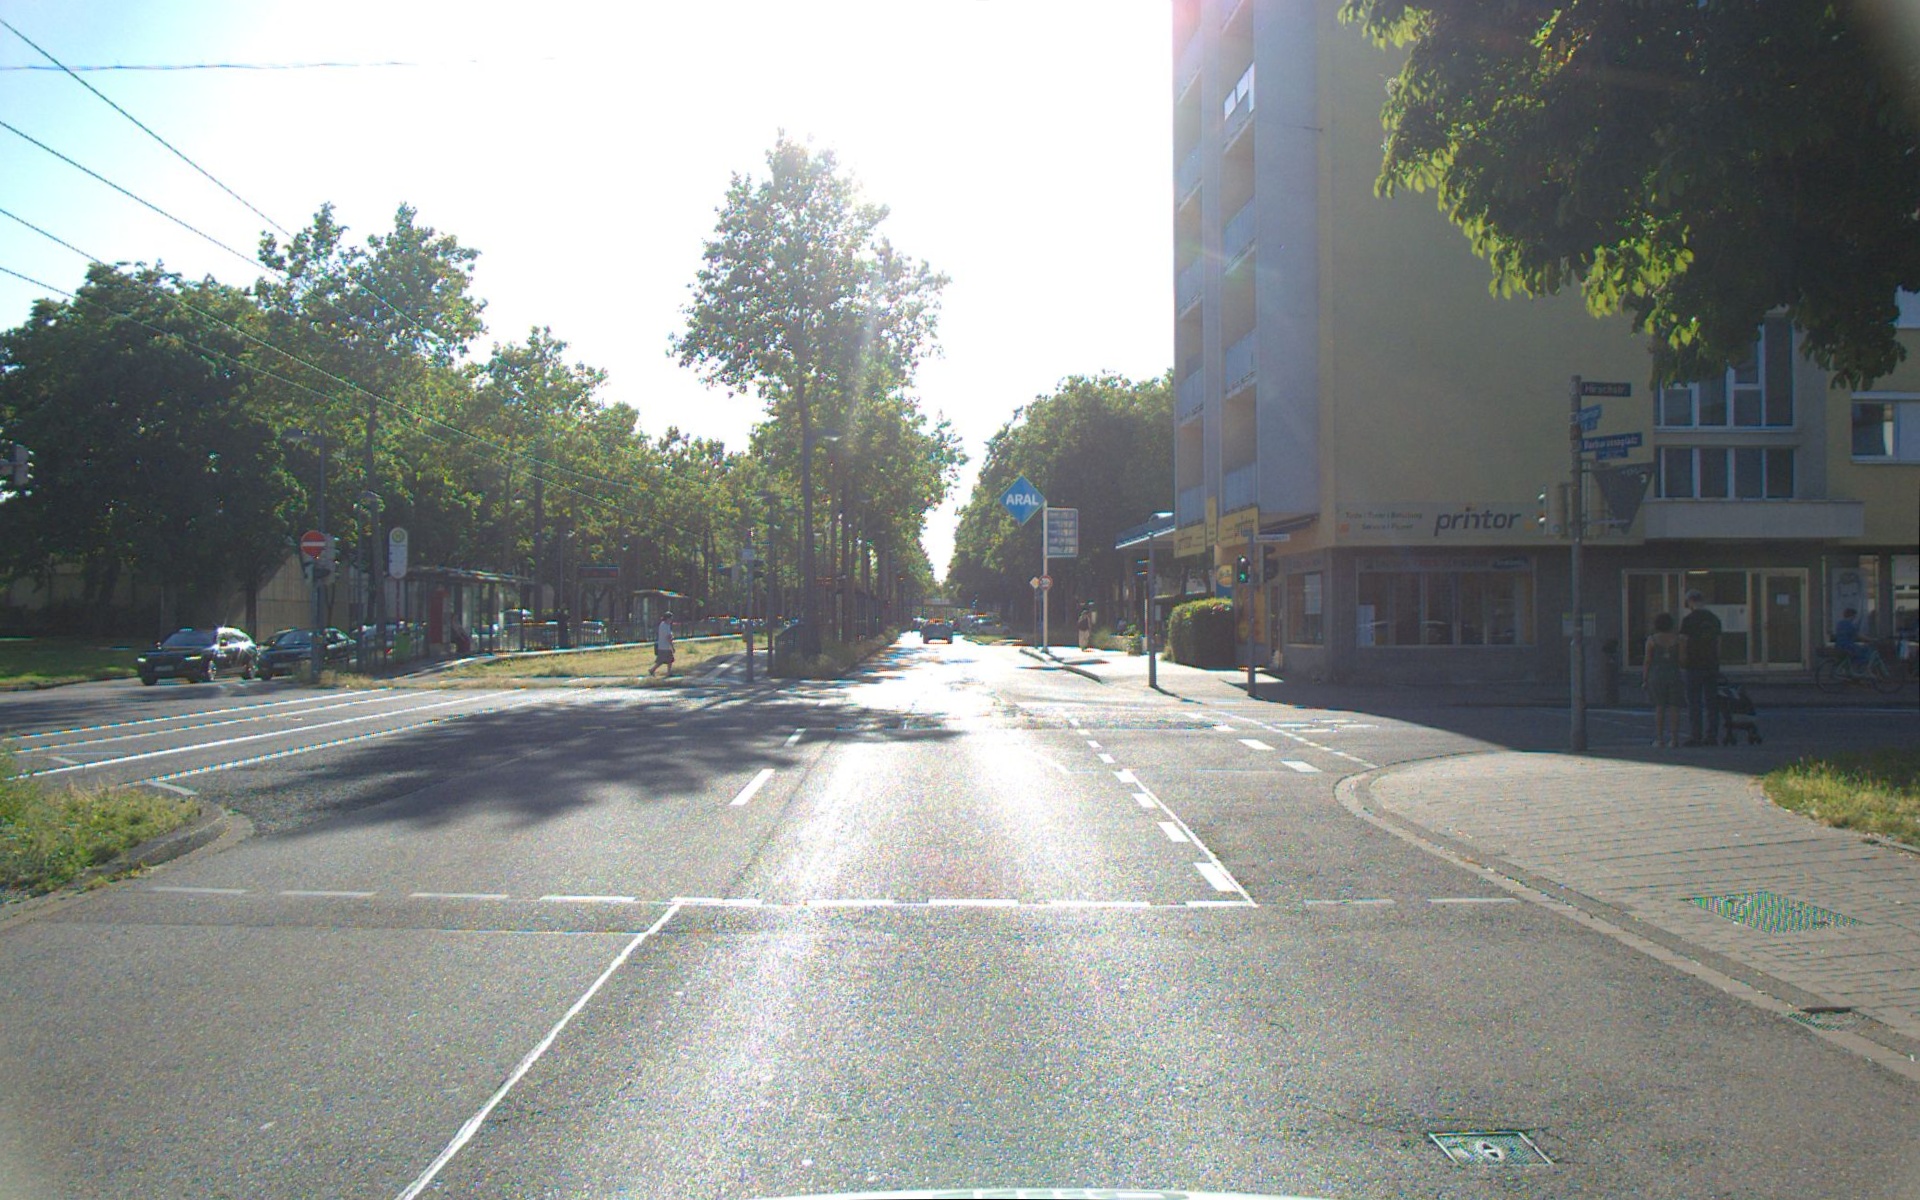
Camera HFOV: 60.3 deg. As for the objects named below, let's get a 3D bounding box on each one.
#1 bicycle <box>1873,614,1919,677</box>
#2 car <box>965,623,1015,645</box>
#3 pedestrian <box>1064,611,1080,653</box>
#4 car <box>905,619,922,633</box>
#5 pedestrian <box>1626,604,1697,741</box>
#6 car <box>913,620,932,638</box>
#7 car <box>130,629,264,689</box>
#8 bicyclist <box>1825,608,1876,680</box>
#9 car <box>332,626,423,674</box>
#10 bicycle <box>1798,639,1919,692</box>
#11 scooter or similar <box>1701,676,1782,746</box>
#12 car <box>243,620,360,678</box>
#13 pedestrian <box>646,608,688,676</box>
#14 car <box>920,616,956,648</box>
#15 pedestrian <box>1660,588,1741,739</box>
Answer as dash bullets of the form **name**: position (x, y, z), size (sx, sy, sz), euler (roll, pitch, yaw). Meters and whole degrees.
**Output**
- **bicycle**: position (22.352, 1.074, 38.019), size (2.420, 1.424, 0.608), euler (2, -1, -2)
- **car**: position (2.561, 2.929, 142.555), size (3.944, 1.780, 1.738), euler (3, -1, -30)
- **pedestrian**: position (4.836, 1.376, 71.374), size (0.562, 1.778, 0.506), euler (2, -1, -2)
- **car**: position (-5.367, 3.007, 191.992), size (1.856, 1.639, 4.498), euler (2, -1, -2)
- **pedestrian**: position (8.147, 0.836, 19.216), size (0.633, 1.549, 0.496), euler (2, -1, 11)
- **car**: position (-3.341, 2.562, 147.554), size (1.601, 1.576, 4.000), euler (2, -1, 0)
- **car**: position (-21.111, 1.593, 45.958), size (1.770, 1.560, 4.360), euler (0, -1, -1)
- **bicyclist**: position (18.963, 0.923, 35.229), size (0.752, 1.497, 0.898), euler (-1, 0, 16)
- **car**: position (-18.762, 1.587, 53.405), size (1.534, 1.427, 3.914), euler (2, -1, -1)
- **bicycle**: position (19.148, 1.389, 35.201), size (2.203, 1.004, 0.789), euler (0, 4, 14)
- **scooter or similar**: position (8.981, 1.270, 19.024), size (0.586, 0.750, 0.681), euler (2, -1, -2)
- **car**: position (-18.777, 1.358, 47.365), size (1.653, 1.560, 4.360), euler (0, -1, -1)
- **pedestrian**: position (-7.149, 1.023, 40.400), size (0.873, 1.634, 0.613), euler (2, -1, -1)
- **car**: position (-1.373, 1.989, 104.066), size (1.963, 1.892, 4.001), euler (2, -1, 3)
- **pedestrian**: position (8.602, 0.729, 19.231), size (0.714, 1.711, 0.533), euler (2, -1, 11)
